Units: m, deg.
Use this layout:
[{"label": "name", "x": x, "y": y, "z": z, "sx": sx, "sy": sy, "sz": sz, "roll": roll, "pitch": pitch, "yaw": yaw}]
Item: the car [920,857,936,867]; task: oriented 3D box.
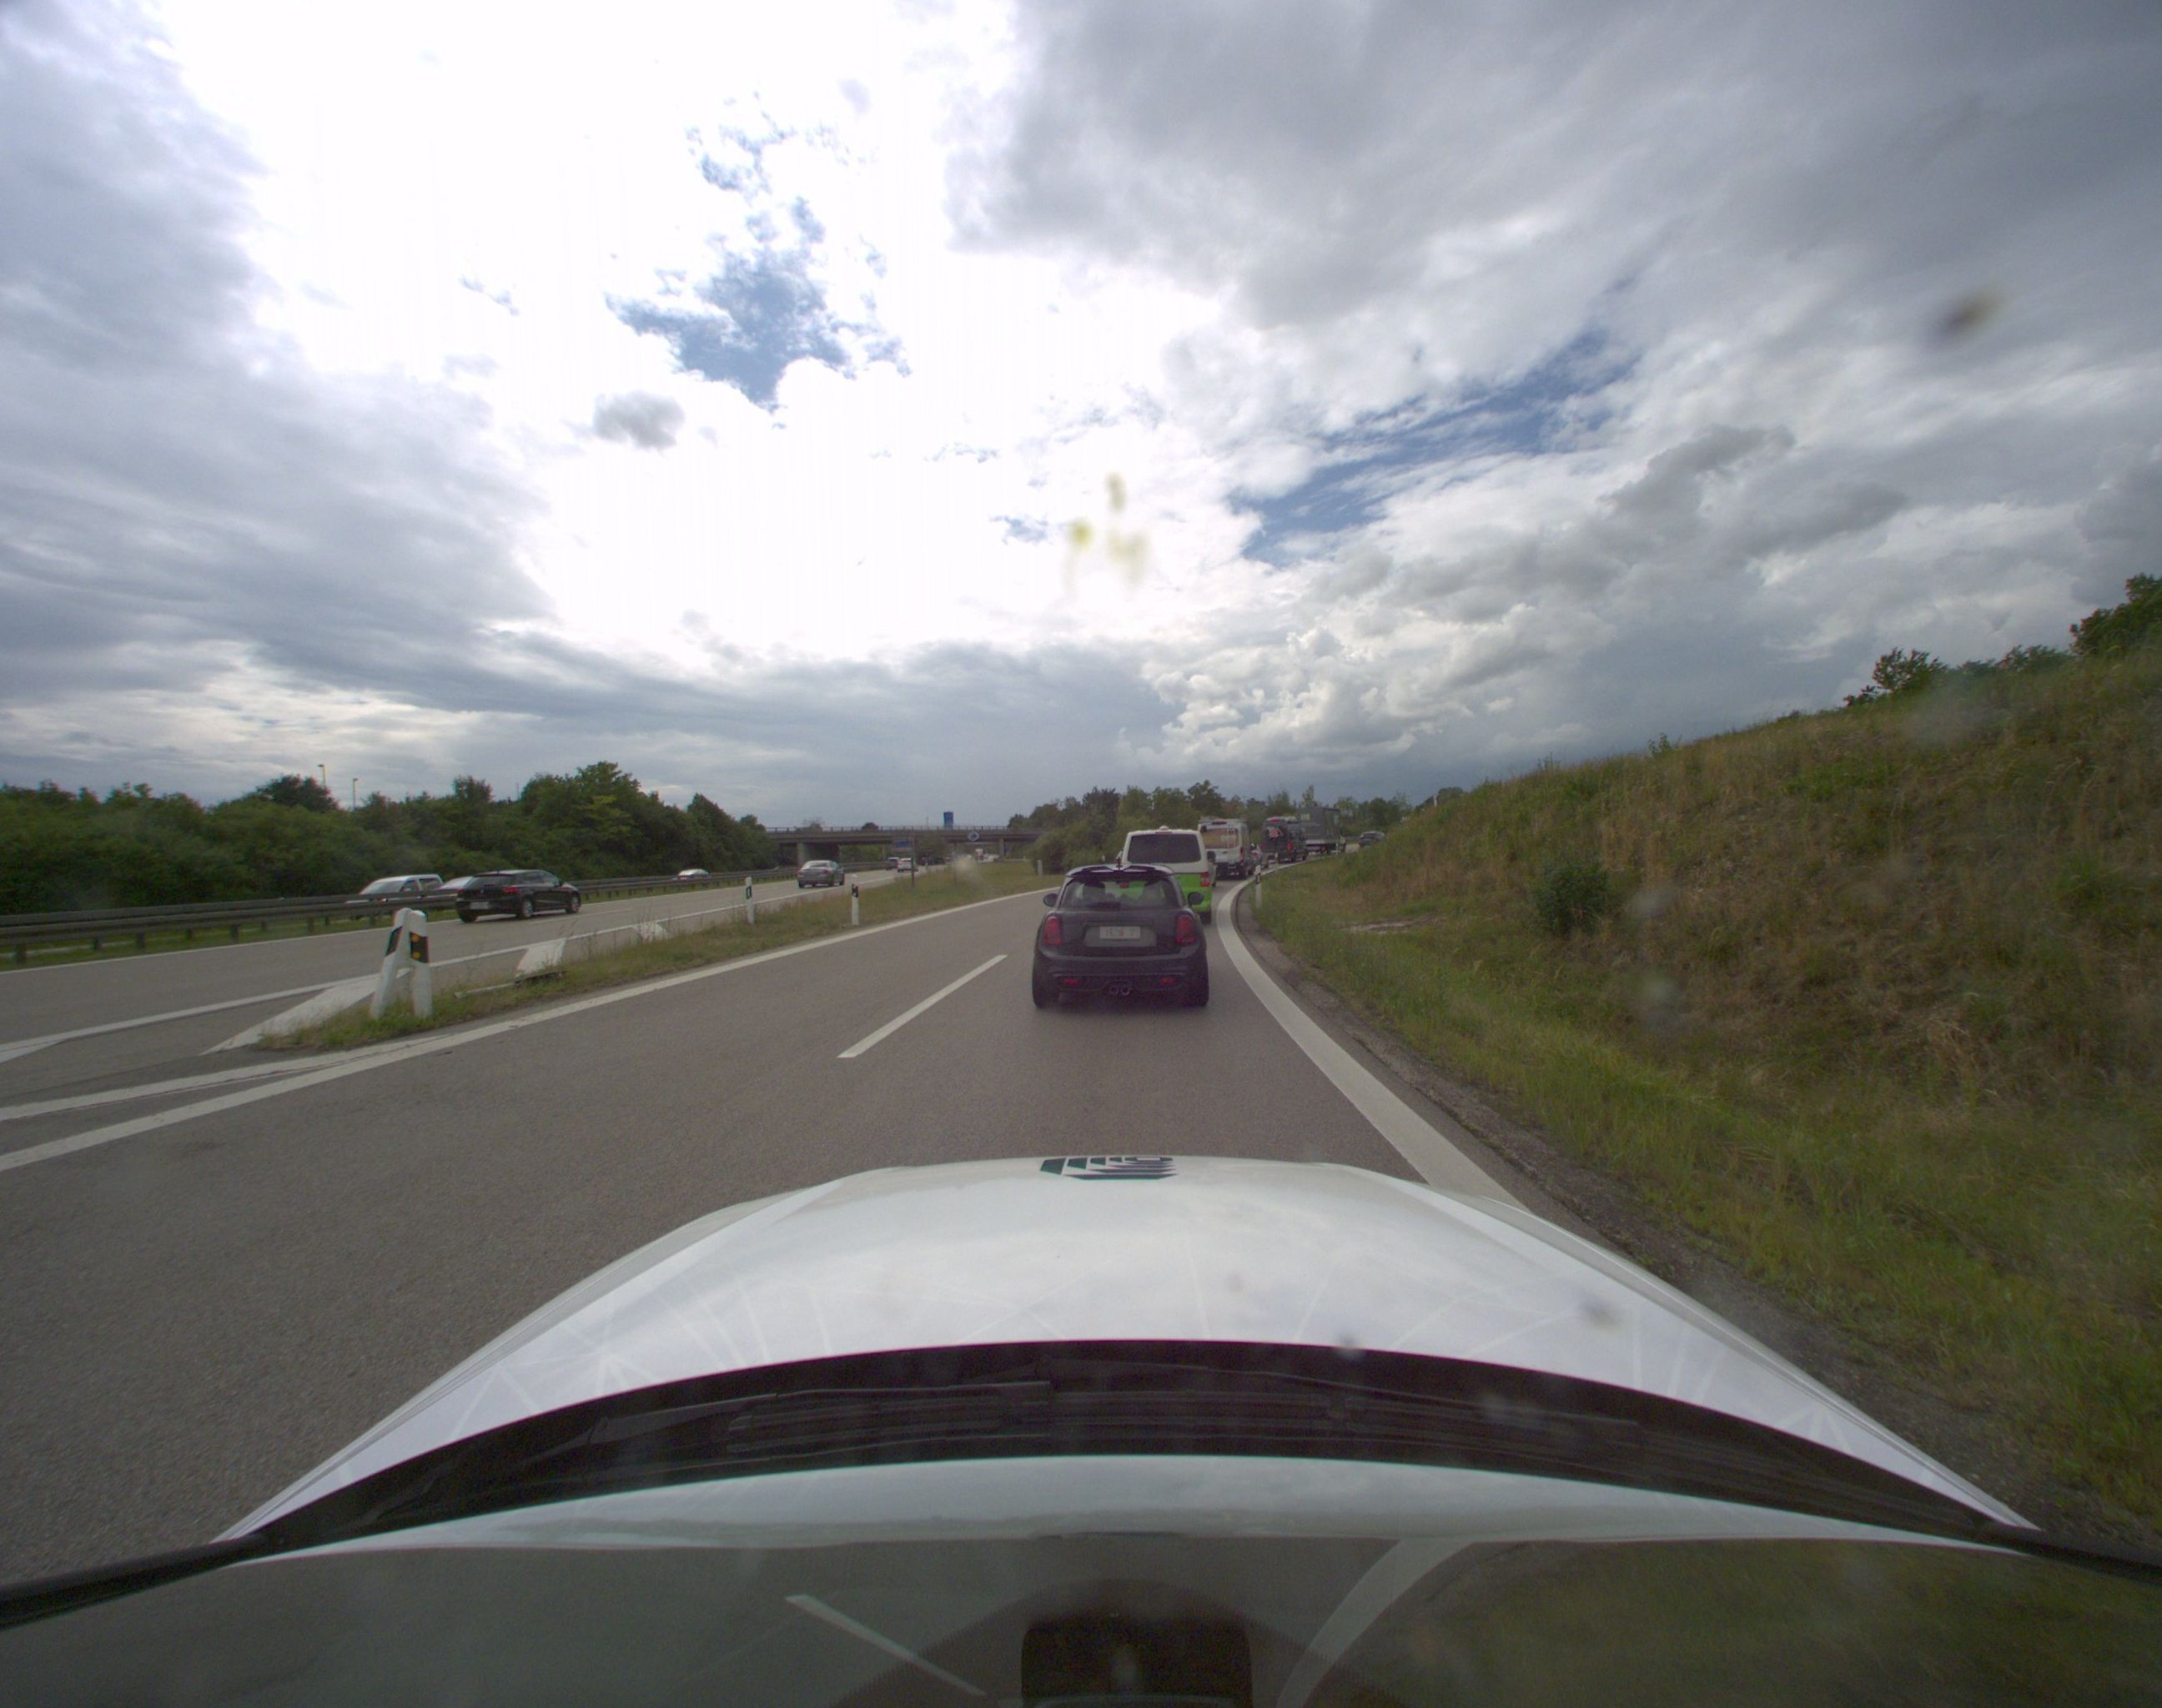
[{"label": "car", "x": -27.385, "y": 1.374, "z": 145.807, "sx": 2.091, "sy": 1.670, "sz": 4.301, "roll": -2, "pitch": 0, "yaw": -3}]

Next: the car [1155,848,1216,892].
[{"label": "car", "x": 3.678, "y": 0.508, "z": 28.242, "sx": 1.750, "sy": 1.398, "sz": 3.737, "roll": -2, "pitch": 0, "yaw": 12}]

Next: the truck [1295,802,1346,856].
[{"label": "truck", "x": 18.604, "y": -1.826, "z": 62.945, "sx": 2.207, "sy": 3.906, "sz": 6.054, "roll": -1, "pitch": -1, "yaw": 32}]

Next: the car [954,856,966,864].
[{"label": "car", "x": -25.817, "y": 1.334, "z": 174.244, "sx": 2.091, "sy": 1.670, "sz": 4.301, "roll": -2, "pitch": 0, "yaw": -3}]

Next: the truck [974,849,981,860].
[{"label": "truck", "x": -33.135, "y": 0.172, "z": 260.366, "sx": 2.142, "sy": 3.507, "sz": 3.993, "roll": 0, "pitch": -1, "yaw": -5}]

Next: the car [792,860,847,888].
[{"label": "car", "x": -14.248, "y": 1.064, "z": 44.665, "sx": 1.776, "sy": 1.398, "sz": 4.544, "roll": -2, "pitch": 0, "yaw": -4}]

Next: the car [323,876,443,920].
[{"label": "car", "x": -30.363, "y": 1.862, "z": 35.585, "sx": 1.991, "sy": 1.651, "sz": 3.992, "roll": -2, "pitch": 0, "yaw": -6}]

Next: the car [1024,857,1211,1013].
[{"label": "car", "x": 0.441, "y": 0.773, "z": 9.500, "sx": 1.720, "sy": 1.413, "sz": 3.728, "roll": -1, "pitch": 0, "yaw": 3}]

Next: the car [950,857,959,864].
[{"label": "car", "x": -33.217, "y": 1.730, "z": 213.665, "sx": 2.067, "sy": 2.014, "sz": 3.991, "roll": 0, "pitch": -1, "yaw": -7}]

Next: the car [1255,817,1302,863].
[{"label": "car", "x": 12.556, "y": -0.886, "z": 51.621, "sx": 2.086, "sy": 2.796, "sz": 4.023, "roll": -1, "pitch": 0, "yaw": 25}]

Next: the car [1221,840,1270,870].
[{"label": "car", "x": 8.918, "y": 0.050, "z": 43.900, "sx": 1.850, "sy": 1.510, "sz": 4.022, "roll": -2, "pitch": 0, "yaw": 22}]

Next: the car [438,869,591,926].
[{"label": "car", "x": -16.792, "y": 1.231, "z": 24.430, "sx": 1.776, "sy": 1.398, "sz": 4.300, "roll": -2, "pitch": 0, "yaw": -4}]

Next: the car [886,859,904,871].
[{"label": "car", "x": -23.902, "y": 1.413, "z": 104.697, "sx": 1.778, "sy": 1.398, "sz": 4.296, "roll": -2, "pitch": 0, "yaw": -7}]

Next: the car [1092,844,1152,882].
[{"label": "car", "x": 1.848, "y": 0.395, "z": 35.825, "sx": 1.782, "sy": 1.556, "sz": 3.977, "roll": -2, "pitch": -1, "yaw": 15}]

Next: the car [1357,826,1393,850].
[{"label": "car", "x": 26.652, "y": -1.435, "z": 73.743, "sx": 1.974, "sy": 2.014, "sz": 4.025, "roll": -1, "pitch": -1, "yaw": 37}]

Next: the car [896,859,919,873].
[{"label": "car", "x": -18.205, "y": 1.262, "z": 85.556, "sx": 1.776, "sy": 1.398, "sz": 4.024, "roll": -2, "pitch": 0, "yaw": -3}]

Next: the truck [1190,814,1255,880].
[{"label": "truck", "x": 6.377, "y": -0.326, "z": 36.180, "sx": 2.162, "sy": 2.658, "sz": 5.131, "roll": -2, "pitch": 1, "yaw": 16}]

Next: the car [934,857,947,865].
[{"label": "car", "x": -29.481, "y": 1.422, "z": 171.258, "sx": 2.155, "sy": 1.670, "sz": 4.301, "roll": -2, "pitch": 0, "yaw": -3}]

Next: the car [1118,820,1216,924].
[{"label": "car", "x": 1.999, "y": 0.347, "z": 17.884, "sx": 1.773, "sy": 2.013, "sz": 4.012, "roll": -1, "pitch": 0, "yaw": 11}]
